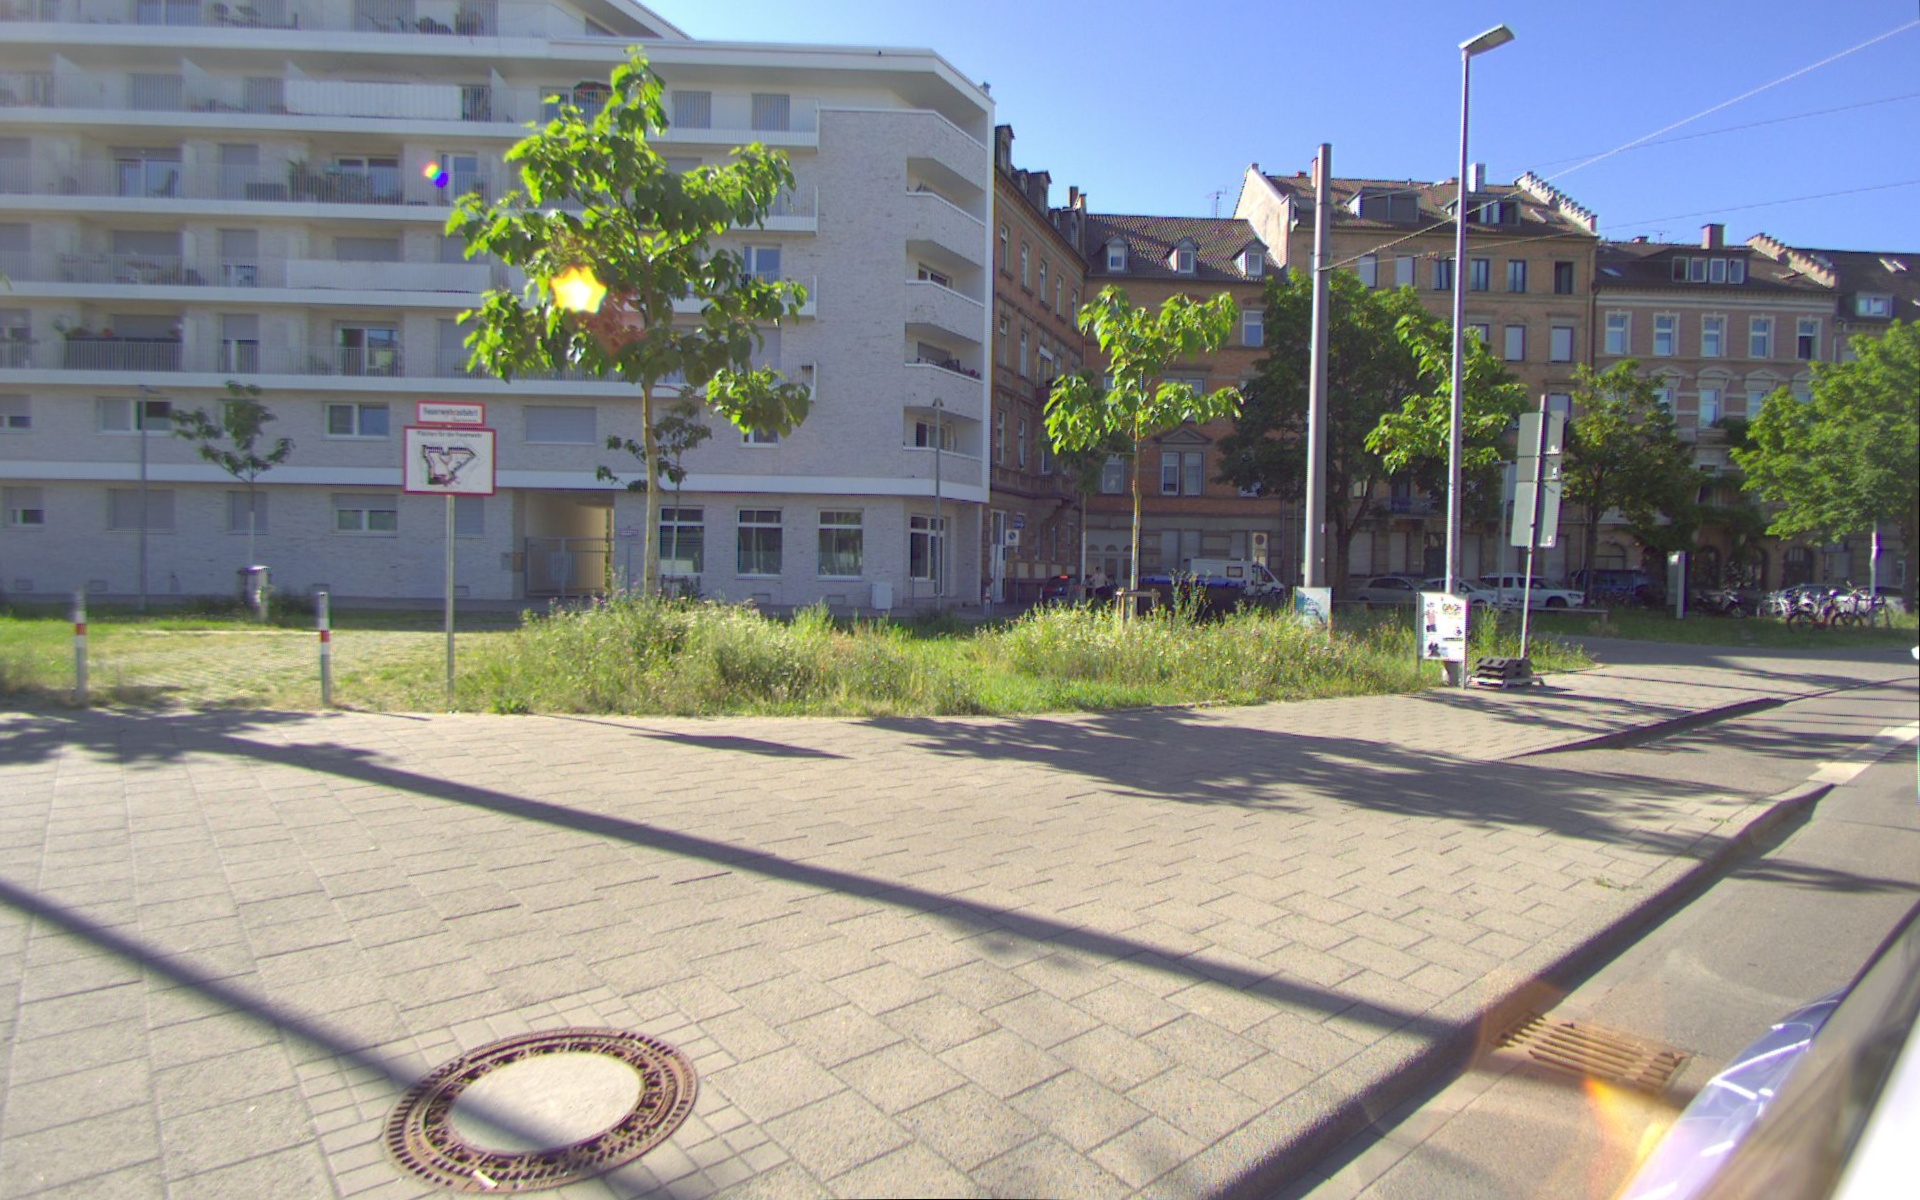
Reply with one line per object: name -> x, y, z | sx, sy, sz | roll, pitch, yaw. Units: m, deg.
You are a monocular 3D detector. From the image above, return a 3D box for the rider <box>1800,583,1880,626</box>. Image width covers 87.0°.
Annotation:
rider -> 25.037, 0.127, 28.809 | 1.652, 1.191, 0.501 | 0, 1, 15

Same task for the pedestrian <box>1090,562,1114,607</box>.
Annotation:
pedestrian -> 5.147, -0.557, 36.669 | 0.756, 1.596, 0.643 | 0, 1, -2

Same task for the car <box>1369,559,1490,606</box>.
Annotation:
car -> 21.996, -0.840, 47.534 | 4.632, 2.001, 2.002 | 1, 3, -2

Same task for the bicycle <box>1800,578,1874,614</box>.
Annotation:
bicycle -> 31.937, -0.170, 36.890 | 0.882, 1.195, 1.953 | 0, 3, -3

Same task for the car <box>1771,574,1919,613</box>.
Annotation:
car -> 34.923, -0.289, 39.504 | 2.007, 1.397, 4.753 | 0, 2, -35

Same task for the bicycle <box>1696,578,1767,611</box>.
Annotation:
bicycle -> 28.537, -0.212, 37.482 | 0.806, 1.173, 2.172 | 1, 1, -6

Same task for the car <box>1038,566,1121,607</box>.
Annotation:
car -> 4.543, -0.532, 37.947 | 1.979, 1.454, 4.074 | 1, 1, 24

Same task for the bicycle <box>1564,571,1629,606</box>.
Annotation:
bicycle -> 25.824, -0.481, 41.071 | 0.774, 1.382, 2.096 | 0, 2, -42

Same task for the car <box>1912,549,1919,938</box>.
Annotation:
car -> 6.283, 0.605, 5.058 | 4.317, 1.656, 1.800 | -1, 2, -41

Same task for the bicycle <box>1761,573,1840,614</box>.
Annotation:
bicycle -> 29.254, -0.250, 35.269 | 0.771, 1.382, 2.103 | 0, 1, -8

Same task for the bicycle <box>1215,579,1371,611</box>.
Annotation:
bicycle -> 12.918, -0.228, 39.507 | 5.116, 1.141, 2.687 | 1, 1, -7

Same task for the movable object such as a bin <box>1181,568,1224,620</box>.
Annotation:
movable object such as a bin -> 6.789, -0.180, 28.291 | 1.076, 1.416, 1.026 | 1, 1, 18

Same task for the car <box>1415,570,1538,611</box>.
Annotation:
car -> 19.648, -0.398, 38.650 | 1.726, 1.459, 3.846 | 0, 2, -33

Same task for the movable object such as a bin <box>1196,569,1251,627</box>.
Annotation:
movable object such as a bin -> 6.728, -0.075, 25.783 | 1.286, 1.416, 1.066 | 1, 1, 18

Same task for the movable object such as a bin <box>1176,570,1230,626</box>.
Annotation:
movable object such as a bin -> 6.507, -0.069, 27.018 | 1.303, 1.416, 1.105 | 1, 1, 18

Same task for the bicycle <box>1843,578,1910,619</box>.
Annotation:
bicycle -> 31.541, -0.068, 34.850 | 1.589, 1.306, 0.760 | 3, 3, 38

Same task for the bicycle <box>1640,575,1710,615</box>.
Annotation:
bicycle -> 26.254, -0.214, 37.188 | 0.771, 1.416, 2.105 | 0, 1, -13

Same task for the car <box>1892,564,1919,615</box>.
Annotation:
car -> 40.629, -0.352, 40.232 | 2.062, 2.037, 4.882 | -2, 4, -36

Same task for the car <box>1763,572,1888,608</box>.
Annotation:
car -> 41.702, -0.516, 48.799 | 4.422, 1.547, 2.004 | 1, 3, -6

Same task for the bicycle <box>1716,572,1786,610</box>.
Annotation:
bicycle -> 29.456, -0.325, 37.721 | 0.771, 1.382, 2.103 | 0, 0, -8

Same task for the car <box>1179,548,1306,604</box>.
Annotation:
car -> 13.012, -1.124, 46.854 | 5.087, 2.385, 2.359 | 1, 3, -1

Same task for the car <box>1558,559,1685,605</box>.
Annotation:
car -> 31.278, -0.884, 47.957 | 4.631, 2.001, 2.003 | 1, 3, -3

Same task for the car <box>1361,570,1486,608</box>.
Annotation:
car -> 17.386, -0.438, 38.150 | 1.802, 1.354, 4.064 | 0, 2, -27

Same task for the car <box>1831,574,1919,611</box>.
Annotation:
car -> 37.389, -0.303, 40.411 | 1.889, 1.397, 3.615 | 0, 2, -35

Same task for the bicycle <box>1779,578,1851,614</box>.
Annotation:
bicycle -> 31.035, -0.175, 36.792 | 0.825, 1.206, 1.966 | 1, 3, -3

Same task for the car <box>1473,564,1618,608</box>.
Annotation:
car -> 22.417, -0.578, 38.915 | 1.900, 1.585, 4.473 | 0, 2, -33
